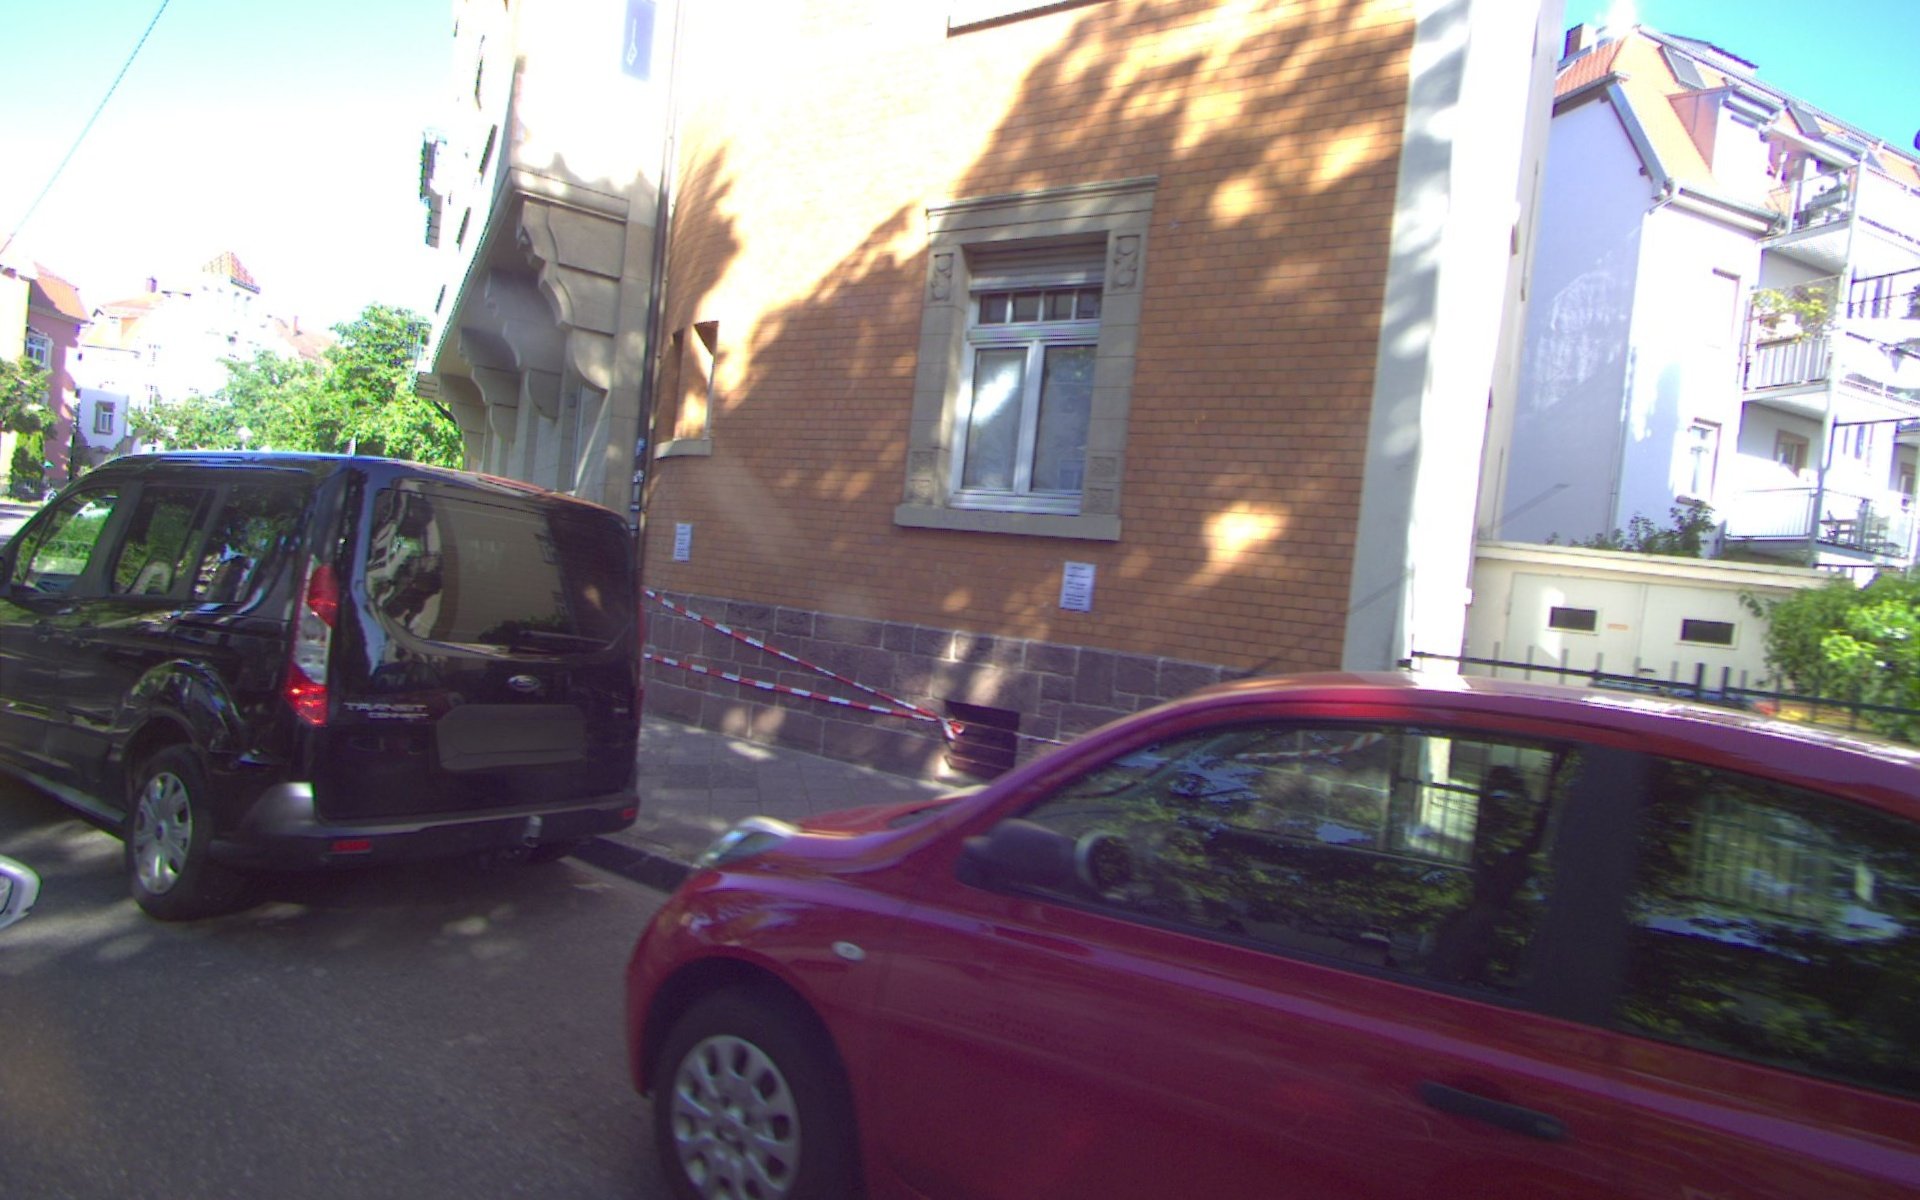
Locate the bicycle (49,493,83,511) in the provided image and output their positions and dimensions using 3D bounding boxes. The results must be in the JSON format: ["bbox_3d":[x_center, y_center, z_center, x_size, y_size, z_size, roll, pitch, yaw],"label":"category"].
[{"bbox_3d":[-52.880,-5.805,59.482,2.243,0.810,0.479,7,2,20],"label":"bicycle"}]

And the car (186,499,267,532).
[{"bbox_3d":[-42.501,-4.891,58.383,1.531,1.474,3.975,6,1,4],"label":"car"}]

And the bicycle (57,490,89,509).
[{"bbox_3d":[-53.393,-6.033,60.523,2.244,0.926,0.478,7,2,23],"label":"bicycle"}]

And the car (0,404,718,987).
[{"bbox_3d":[-3.521,0.191,5.101,4.201,1.892,1.806,7,-2,31],"label":"car"}]

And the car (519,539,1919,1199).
[{"bbox_3d":[1.019,0.890,2.365,3.933,1.555,1.649,7,-2,31],"label":"car"}]

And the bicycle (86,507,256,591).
[{"bbox_3d":[-13.445,-0.854,17.221,2.206,1.174,0.384,6,2,-33],"label":"bicycle"}]

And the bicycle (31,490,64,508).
[{"bbox_3d":[-53.701,-5.952,59.202,1.990,0.810,0.479,7,2,18],"label":"bicycle"}]

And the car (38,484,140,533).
[{"bbox_3d":[-35.540,-3.730,41.040,3.704,1.584,1.718,6,1,25],"label":"car"}]
